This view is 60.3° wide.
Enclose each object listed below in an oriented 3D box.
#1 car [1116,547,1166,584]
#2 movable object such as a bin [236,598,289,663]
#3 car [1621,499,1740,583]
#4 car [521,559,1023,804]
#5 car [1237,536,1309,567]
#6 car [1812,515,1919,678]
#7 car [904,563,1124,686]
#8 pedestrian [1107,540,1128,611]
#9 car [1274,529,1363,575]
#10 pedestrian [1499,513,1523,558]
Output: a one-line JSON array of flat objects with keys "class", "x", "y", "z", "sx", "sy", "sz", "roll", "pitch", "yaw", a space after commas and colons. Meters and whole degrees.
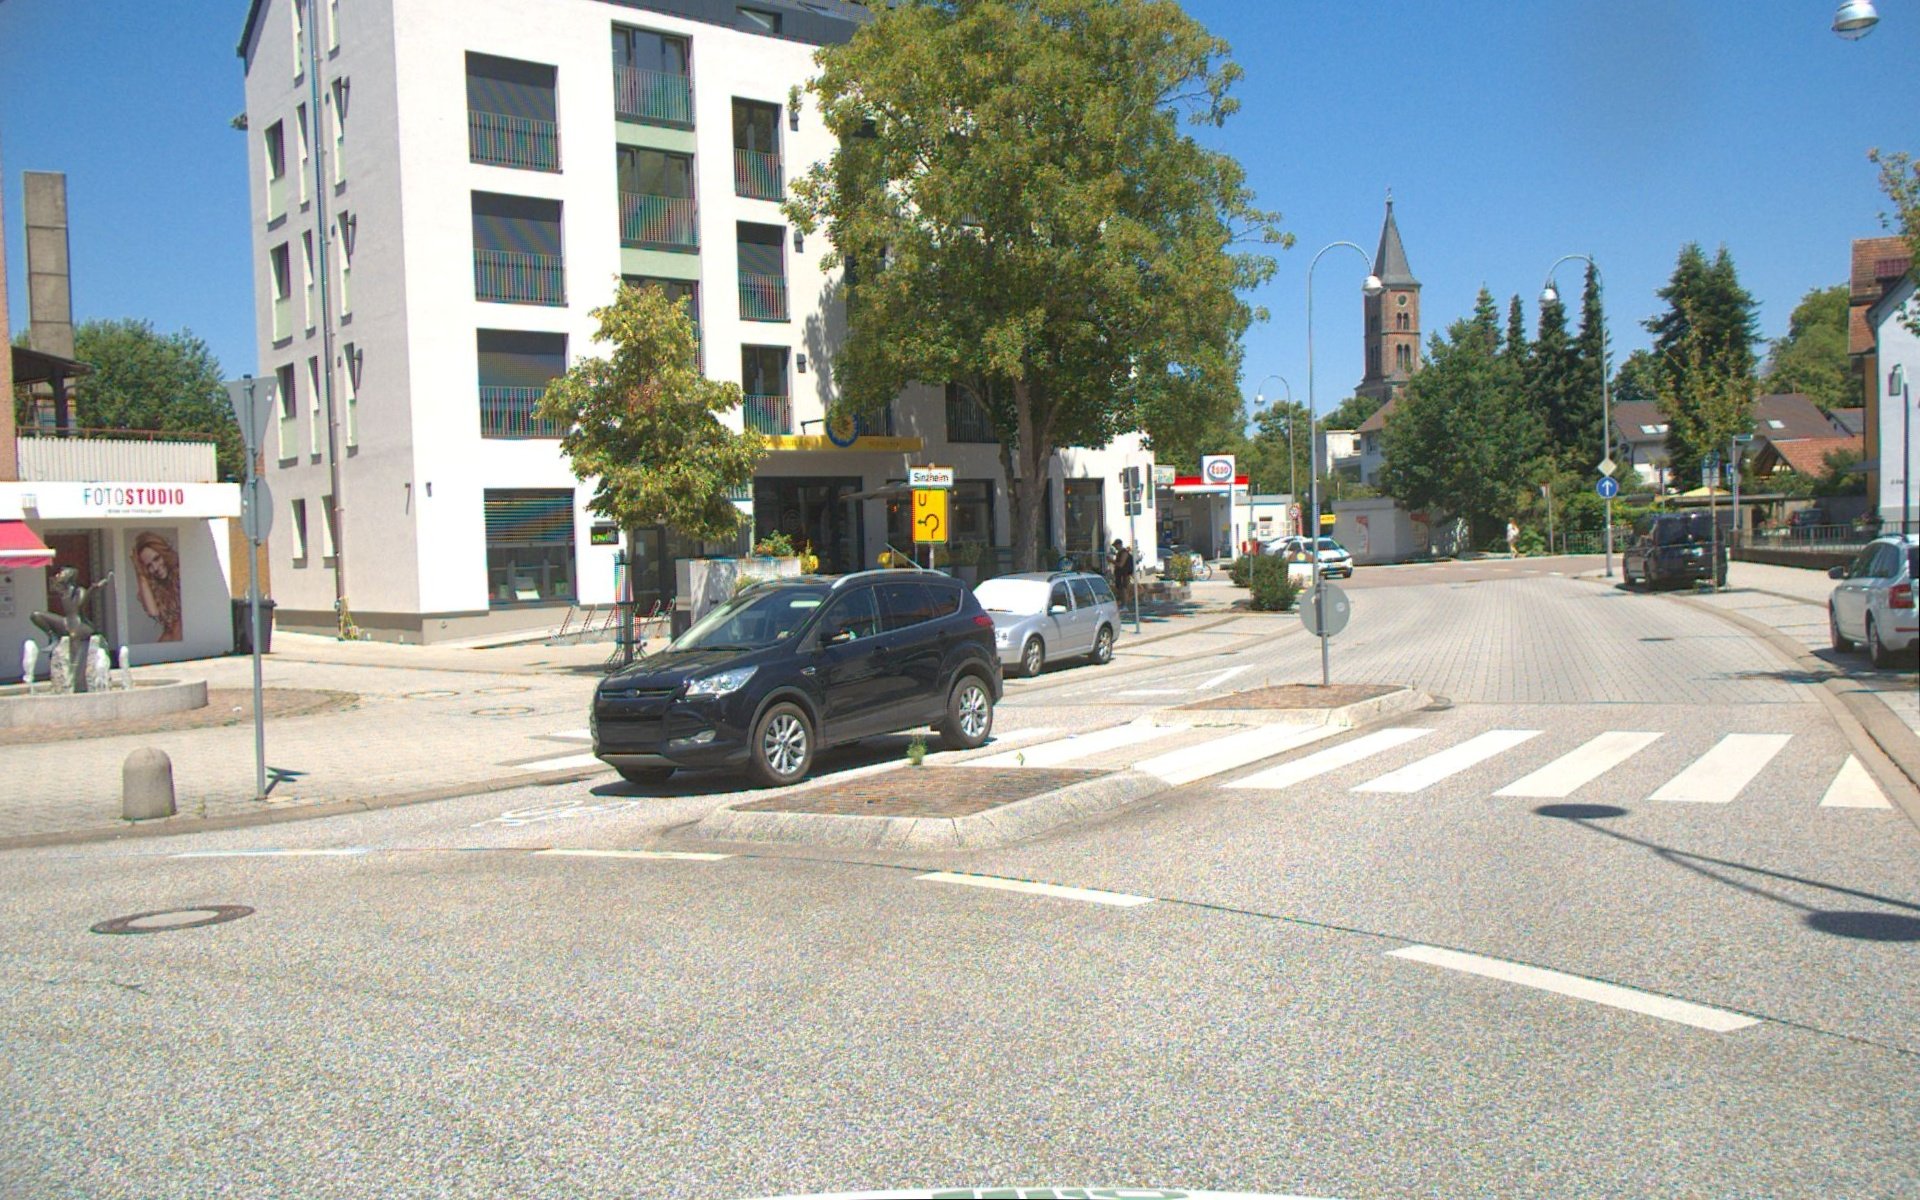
[{"class": "car", "x": 8.299, "y": -1.604, "z": 76.222, "sx": 1.794, "sy": 1.601, "sz": 4.000, "roll": -3, "pitch": 2, "yaw": 0}, {"class": "movable object such as a bin", "x": -13.781, "y": 0.595, "z": 32.684, "sx": 0.753, "sy": 1.175, "sz": 0.764, "roll": -5, "pitch": 5, "yaw": -37}, {"class": "car", "x": 18.053, "y": -1.533, "z": 41.625, "sx": 1.951, "sy": 1.896, "sz": 4.293, "roll": -1, "pitch": 4, "yaw": 13}, {"class": "car", "x": -1.486, "y": 0.602, "z": 14.847, "sx": 1.959, "sy": 1.717, "sz": 4.514, "roll": -2, "pitch": 1, "yaw": 34}, {"class": "car", "x": 19.214, "y": -3.015, "z": 101.531, "sx": 3.929, "sy": 1.679, "sz": 1.989, "roll": -3, "pitch": 4, "yaw": -20}, {"class": "car", "x": 11.429, "y": -0.169, "z": 19.290, "sx": 1.953, "sy": 1.611, "sz": 4.289, "roll": -6, "pitch": 0, "yaw": 20}, {"class": "car", "x": 0.928, "y": 0.299, "z": 25.763, "sx": 1.762, "sy": 1.617, "sz": 3.994, "roll": 1, "pitch": 3, "yaw": 30}, {"class": "pedestrian", "x": 3.775, "y": -0.586, "z": 39.688, "sx": 0.396, "sy": 1.656, "sz": 0.652, "roll": -1, "pitch": 4, "yaw": 12}, {"class": "car", "x": 13.814, "y": -1.854, "z": 63.895, "sx": 1.800, "sy": 1.601, "sz": 3.988, "roll": -4, "pitch": 2, "yaw": -12}, {"class": "pedestrian", "x": 23.290, "y": -2.738, "z": 69.906, "sx": 0.829, "sy": 1.845, "sz": 0.547, "roll": -3, "pitch": 4, "yaw": -17}]
